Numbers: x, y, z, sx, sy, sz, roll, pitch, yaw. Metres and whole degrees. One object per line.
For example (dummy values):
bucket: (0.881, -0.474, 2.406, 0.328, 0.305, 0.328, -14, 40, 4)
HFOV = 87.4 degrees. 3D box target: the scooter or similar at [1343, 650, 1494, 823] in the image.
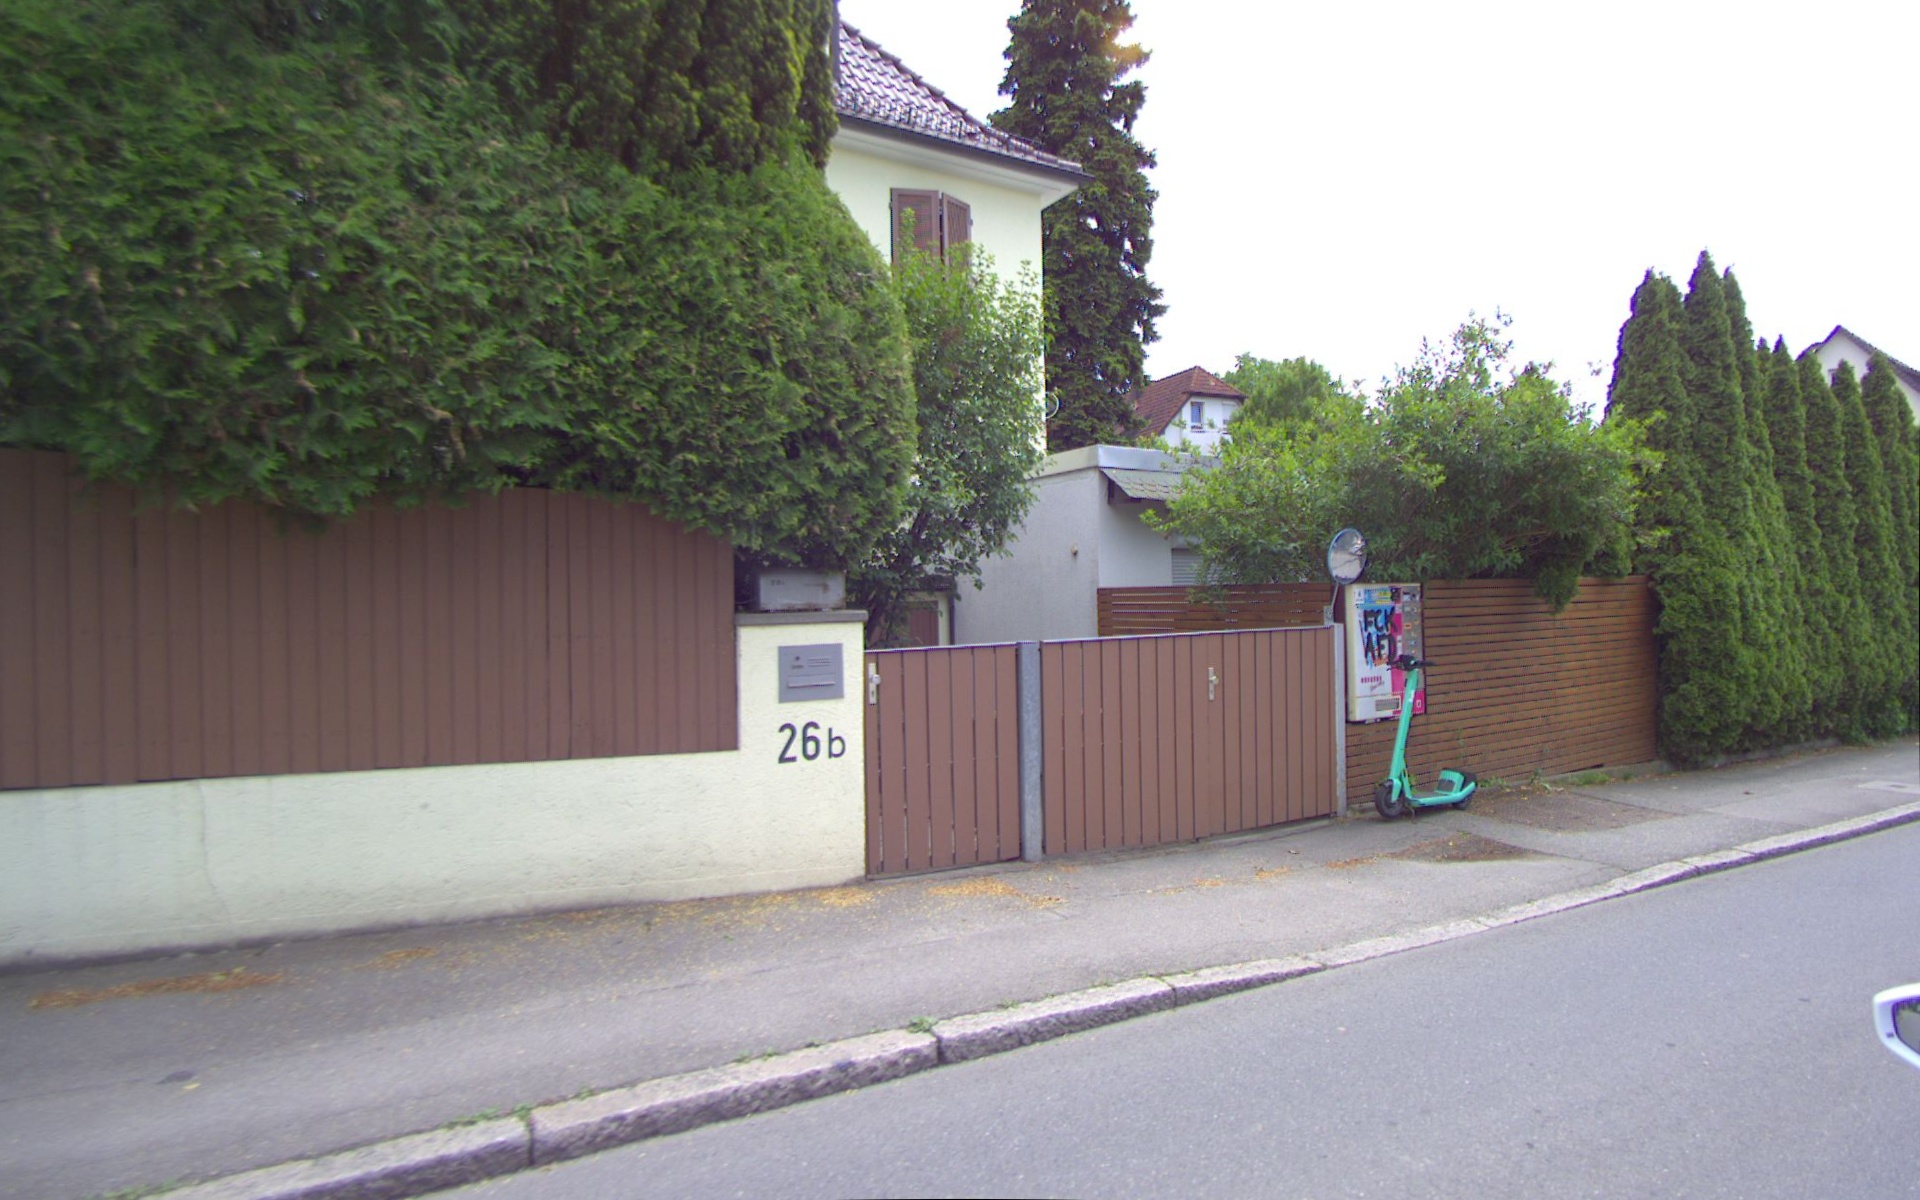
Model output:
scooter or similar: (3.470, 0.989, 7.575, 1.256, 1.187, 0.389, 1, 0, -31)
